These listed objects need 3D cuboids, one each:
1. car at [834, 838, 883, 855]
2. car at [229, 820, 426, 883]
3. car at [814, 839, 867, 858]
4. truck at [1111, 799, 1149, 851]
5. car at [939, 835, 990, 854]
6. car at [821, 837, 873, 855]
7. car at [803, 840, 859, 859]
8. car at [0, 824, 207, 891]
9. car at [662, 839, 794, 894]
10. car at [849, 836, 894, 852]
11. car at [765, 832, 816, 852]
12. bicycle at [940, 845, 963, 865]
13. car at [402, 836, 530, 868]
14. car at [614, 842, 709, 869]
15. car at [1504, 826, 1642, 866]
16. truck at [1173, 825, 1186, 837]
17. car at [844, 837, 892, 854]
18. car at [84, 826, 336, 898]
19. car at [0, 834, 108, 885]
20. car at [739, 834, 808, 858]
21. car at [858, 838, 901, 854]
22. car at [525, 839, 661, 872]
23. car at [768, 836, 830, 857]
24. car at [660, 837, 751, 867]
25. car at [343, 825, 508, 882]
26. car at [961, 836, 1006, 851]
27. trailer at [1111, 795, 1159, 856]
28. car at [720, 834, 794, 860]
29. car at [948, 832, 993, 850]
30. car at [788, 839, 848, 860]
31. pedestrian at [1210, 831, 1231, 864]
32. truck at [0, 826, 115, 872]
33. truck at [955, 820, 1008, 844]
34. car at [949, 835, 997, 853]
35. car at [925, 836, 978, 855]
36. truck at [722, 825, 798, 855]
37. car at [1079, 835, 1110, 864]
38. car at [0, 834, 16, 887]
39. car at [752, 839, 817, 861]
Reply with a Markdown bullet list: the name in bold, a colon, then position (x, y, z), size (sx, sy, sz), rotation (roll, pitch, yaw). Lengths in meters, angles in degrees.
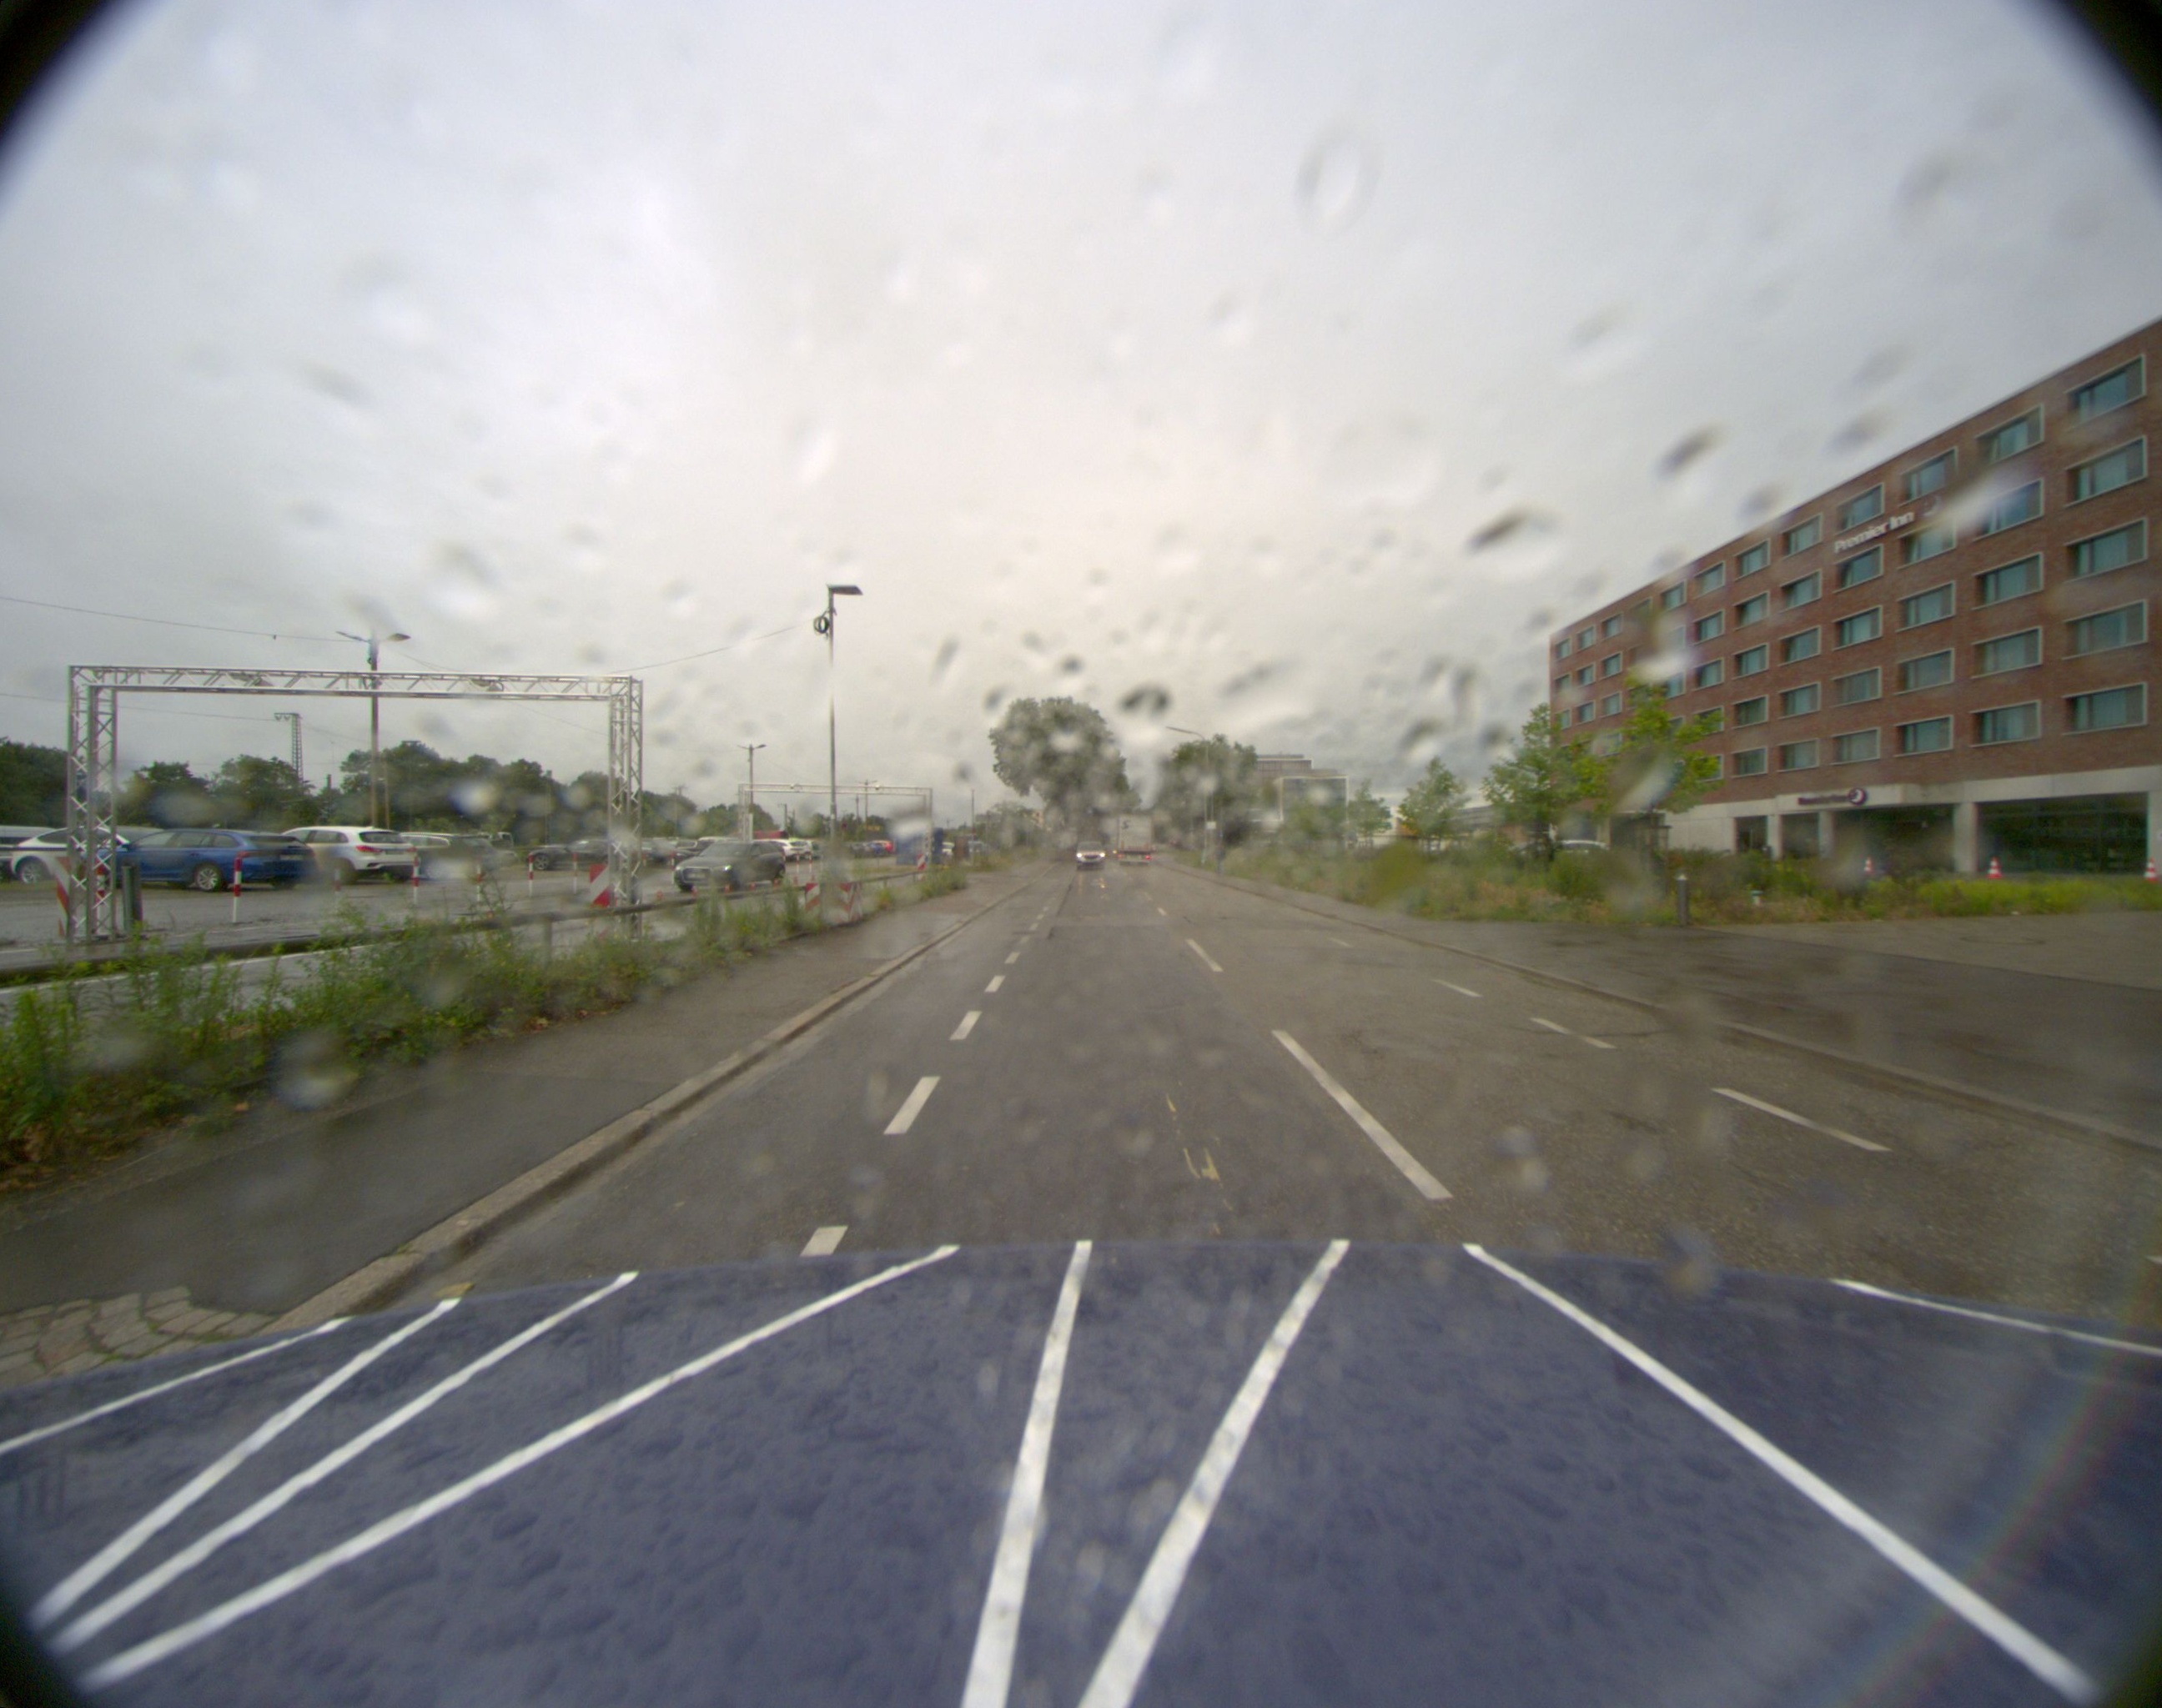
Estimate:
- **car**: position (-20.648, -0.677, 70.493), size (3.961, 1.419, 1.821), rotation (1, 3, 3)
- **car**: position (-21.220, -0.109, 21.510), size (3.911, 1.575, 1.786), rotation (2, 3, 4)
- **car**: position (-20.566, -0.499, 65.068), size (3.961, 1.419, 1.886), rotation (1, 3, 3)
- **truck**: position (4.466, -2.650, 70.778), size (3.302, 4.628, 6.031), rotation (0, 2, 1)
- **car**: position (-9.484, -0.767, 62.225), size (3.906, 1.415, 1.904), rotation (-1, 3, -1)
- **car**: position (-20.834, -0.723, 67.787), size (3.961, 1.419, 1.886), rotation (1, 3, 3)
- **car**: position (-20.527, -0.384, 62.560), size (3.961, 1.419, 1.886), rotation (1, 3, 3)
- **car**: position (-27.586, 0.052, 21.250), size (4.071, 1.650, 1.831), rotation (2, 3, -1)
- **car**: position (-10.462, 0.303, 22.921), size (1.899, 1.448, 4.226), rotation (2, 1, 1)
- **car**: position (-20.979, -0.977, 76.231), size (3.961, 1.472, 1.707), rotation (1, 3, 3)
- **car**: position (-27.268, -1.138, 71.414), size (3.995, 1.790, 1.797), rotation (0, 2, 5)
- **bicycle**: position (-7.289, 0.038, 42.834), size (0.507, 1.078, 1.705), rotation (1, 2, 22)
- **car**: position (-26.255, -0.098, 32.538), size (3.997, 1.325, 1.754), rotation (0, 2, -1)
- **car**: position (-20.953, 0.053, 38.034), size (3.895, 1.214, 1.648), rotation (1, 3, 6)
- **car**: position (20.695, -0.349, 32.109), size (4.533, 1.632, 1.999), rotation (0, 2, -2)
- **truck**: position (22.844, -5.358, 177.153), size (2.090, 2.605, 6.975), rotation (0, 2, 0)
- **car**: position (-20.550, -0.809, 73.394), size (4.074, 1.482, 1.925), rotation (1, 3, 3)
- **car**: position (-21.046, 0.139, 18.486), size (4.054, 1.476, 1.927), rotation (2, 3, 4)
- **car**: position (-37.595, 0.166, 26.581), size (4.329, 1.711, 2.020), rotation (0, 2, -2)
- **car**: position (-20.718, -0.570, 51.280), size (3.961, 1.482, 1.777), rotation (1, 3, 3)
- **car**: position (-20.923, -0.853, 79.084), size (3.961, 1.529, 1.806), rotation (1, 3, 3)
- **car**: position (-21.038, 0.052, 32.894), size (4.599, 1.214, 1.977), rotation (1, 3, 0)
- **car**: position (-21.146, -0.545, 57.124), size (3.961, 1.419, 1.886), rotation (1, 3, 3)
- **car**: position (-20.179, -0.127, 40.967), size (3.961, 1.482, 1.869), rotation (1, 3, 3)
- **car**: position (-20.791, -0.055, 24.193), size (3.783, 1.575, 1.786), rotation (2, 3, 4)
- **car**: position (-9.435, -1.037, 74.033), size (4.170, 1.412, 1.862), rotation (-1, 3, -2)
- **trailer**: position (4.292, -2.336, 63.939), size (3.302, 4.628, 13.729), rotation (0, 2, 1)
- **car**: position (-20.621, -0.444, 48.484), size (3.961, 1.482, 1.777), rotation (1, 3, 3)
- **car**: position (-10.151, -1.224, 70.178), size (3.906, 1.586, 1.896), rotation (-1, 3, -1)
- **car**: position (-20.446, -0.372, 59.124), size (3.961, 1.419, 1.886), rotation (1, 3, 3)
- **pedestrian**: position (7.282, -0.339, 39.715), size (0.911, 1.708, 1.026), rotation (0, 2, 1)
- **truck**: position (-47.908, -0.263, 34.164), size (2.086, 2.002, 5.279), rotation (1, 1, 2)
- **truck**: position (-10.013, -2.231, 76.885), size (5.046, 2.389, 2.109), rotation (-1, 2, -1)
- **car**: position (-9.227, -0.895, 65.055), size (3.906, 1.415, 1.778), rotation (-1, 3, -1)
- **car**: position (-10.118, -0.695, 59.672), size (3.781, 1.386, 1.904), rotation (-1, 3, -1)
- **truck**: position (-26.422, -1.155, 62.689), size (5.301, 2.355, 2.152), rotation (0, 2, 1)
- **car**: position (0.807, -0.345, 48.035), size (1.838, 1.714, 4.171), rotation (1, 2, 0)
- **car**: position (-37.376, 0.228, 24.033), size (4.329, 1.711, 2.020), rotation (0, 2, -2)
- **car**: position (-21.273, -0.304, 54.605), size (3.961, 1.482, 1.777), rotation (1, 3, 3)
